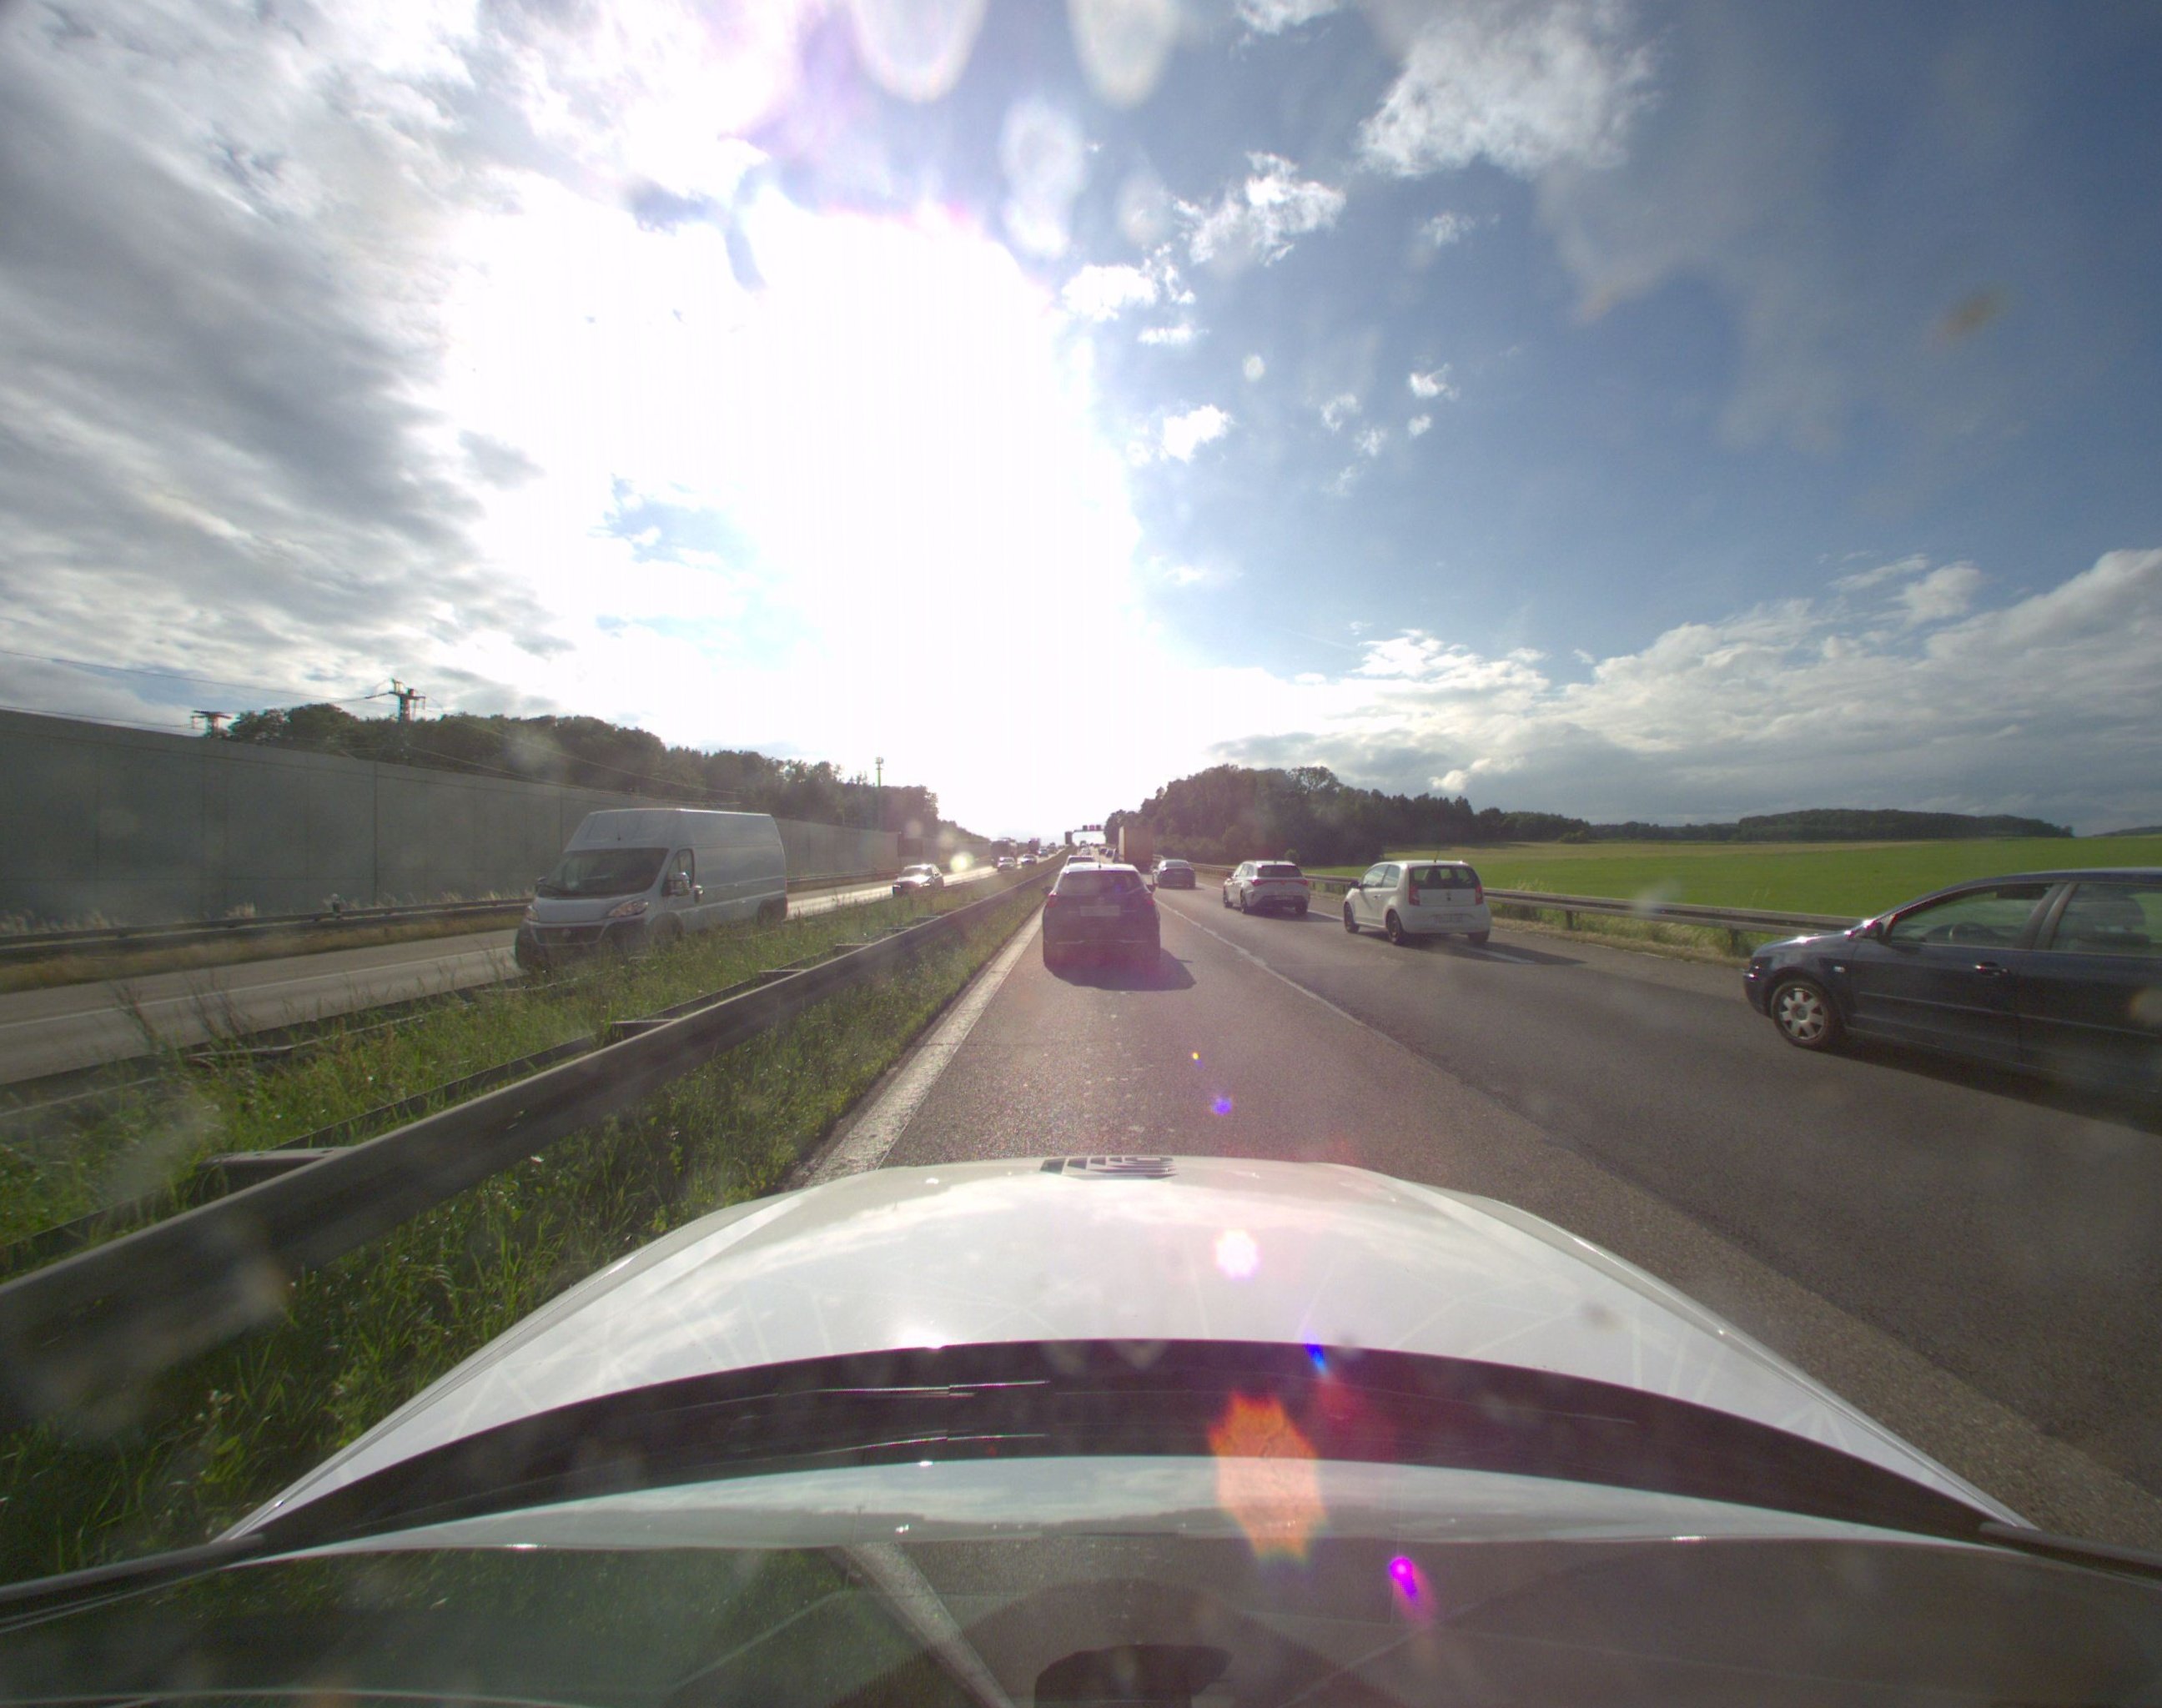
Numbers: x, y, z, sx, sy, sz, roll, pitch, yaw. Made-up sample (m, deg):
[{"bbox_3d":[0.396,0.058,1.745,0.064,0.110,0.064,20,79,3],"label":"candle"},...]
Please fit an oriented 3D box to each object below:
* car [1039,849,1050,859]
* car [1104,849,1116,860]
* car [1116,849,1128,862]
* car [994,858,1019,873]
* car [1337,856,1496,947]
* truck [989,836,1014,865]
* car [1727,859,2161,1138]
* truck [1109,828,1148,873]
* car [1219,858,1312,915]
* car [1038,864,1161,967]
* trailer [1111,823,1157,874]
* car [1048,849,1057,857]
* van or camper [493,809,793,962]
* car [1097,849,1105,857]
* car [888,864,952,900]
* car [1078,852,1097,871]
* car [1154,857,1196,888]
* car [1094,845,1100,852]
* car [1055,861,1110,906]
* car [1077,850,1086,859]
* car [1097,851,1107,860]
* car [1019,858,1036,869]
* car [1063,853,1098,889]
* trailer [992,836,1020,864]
[{"bbox_3d":[-7.283,0.045,162.353,1.853,1.834,4.281,0,-1,1],"label":"car"},{"bbox_3d":[5.442,0.141,153.192,1.987,2.014,3.998,0,-1,-1],"label":"car"},{"bbox_3d":[5.760,0.234,114.710,1.661,1.755,3.328,0,-1,2],"label":"car"},{"bbox_3d":[-7.600,1.200,83.371,1.986,1.486,4.399,0,-1,1],"label":"car"},{"bbox_3d":[6.125,0.799,15.266,1.544,1.495,3.376,0,0,-1],"label":"car"},{"bbox_3d":[-10.888,-0.479,111.891,2.544,3.798,5.417,-3,-1,1],"label":"truck"},{"bbox_3d":[6.437,0.756,5.112,1.705,1.446,3.771,0,-1,-1],"label":"car"},{"bbox_3d":[4.774,-0.294,83.377,3.571,4.380,6.686,0,-1,-1],"label":"truck"},{"bbox_3d":[5.118,0.875,23.130,1.616,1.446,4.144,0,-1,-1],"label":"car"},{"bbox_3d":[0.316,0.893,13.132,1.703,1.426,3.379,-1,-1,2],"label":"car"},{"bbox_3d":[4.808,-0.385,76.657,3.537,4.457,12.718,0,-1,0],"label":"trailer"},{"bbox_3d":[-6.912,-0.281,196.548,1.987,1.883,4.787,-3,-1,1],"label":"car"},{"bbox_3d":[-7.494,0.500,15.014,2.159,2.205,6.256,0,-1,0],"label":"van or camper"},{"bbox_3d":[4.916,-0.268,199.935,1.987,2.014,3.998,0,-1,-1],"label":"car"},{"bbox_3d":[-7.220,1.225,36.916,1.836,1.508,4.552,0,-1,2],"label":"car"},{"bbox_3d":[0.657,0.790,89.006,1.987,2.014,3.998,0,-1,-1],"label":"car"},{"bbox_3d":[4.688,0.917,41.027,1.741,1.475,4.147,-1,-1,1],"label":"car"},{"bbox_3d":[4.901,-1.602,250.993,1.987,2.014,3.998,0,-1,-1],"label":"car"},{"bbox_3d":[0.091,0.921,26.439,1.668,1.367,3.597,-1,-1,1],"label":"car"},{"bbox_3d":[0.157,0.100,185.949,1.987,2.014,3.998,0,-1,-1],"label":"car"},{"bbox_3d":[4.466,0.324,170.430,1.987,2.014,3.998,0,-1,-1],"label":"car"},{"bbox_3d":[-7.218,1.311,109.691,1.797,1.516,4.691,0,-1,1],"label":"car"},{"bbox_3d":[0.006,0.862,41.041,1.668,1.726,3.597,0,-1,1],"label":"car"},{"bbox_3d":[-10.771,-0.418,118.649,2.531,3.771,12.542,-2,-1,1],"label":"trailer"}]
